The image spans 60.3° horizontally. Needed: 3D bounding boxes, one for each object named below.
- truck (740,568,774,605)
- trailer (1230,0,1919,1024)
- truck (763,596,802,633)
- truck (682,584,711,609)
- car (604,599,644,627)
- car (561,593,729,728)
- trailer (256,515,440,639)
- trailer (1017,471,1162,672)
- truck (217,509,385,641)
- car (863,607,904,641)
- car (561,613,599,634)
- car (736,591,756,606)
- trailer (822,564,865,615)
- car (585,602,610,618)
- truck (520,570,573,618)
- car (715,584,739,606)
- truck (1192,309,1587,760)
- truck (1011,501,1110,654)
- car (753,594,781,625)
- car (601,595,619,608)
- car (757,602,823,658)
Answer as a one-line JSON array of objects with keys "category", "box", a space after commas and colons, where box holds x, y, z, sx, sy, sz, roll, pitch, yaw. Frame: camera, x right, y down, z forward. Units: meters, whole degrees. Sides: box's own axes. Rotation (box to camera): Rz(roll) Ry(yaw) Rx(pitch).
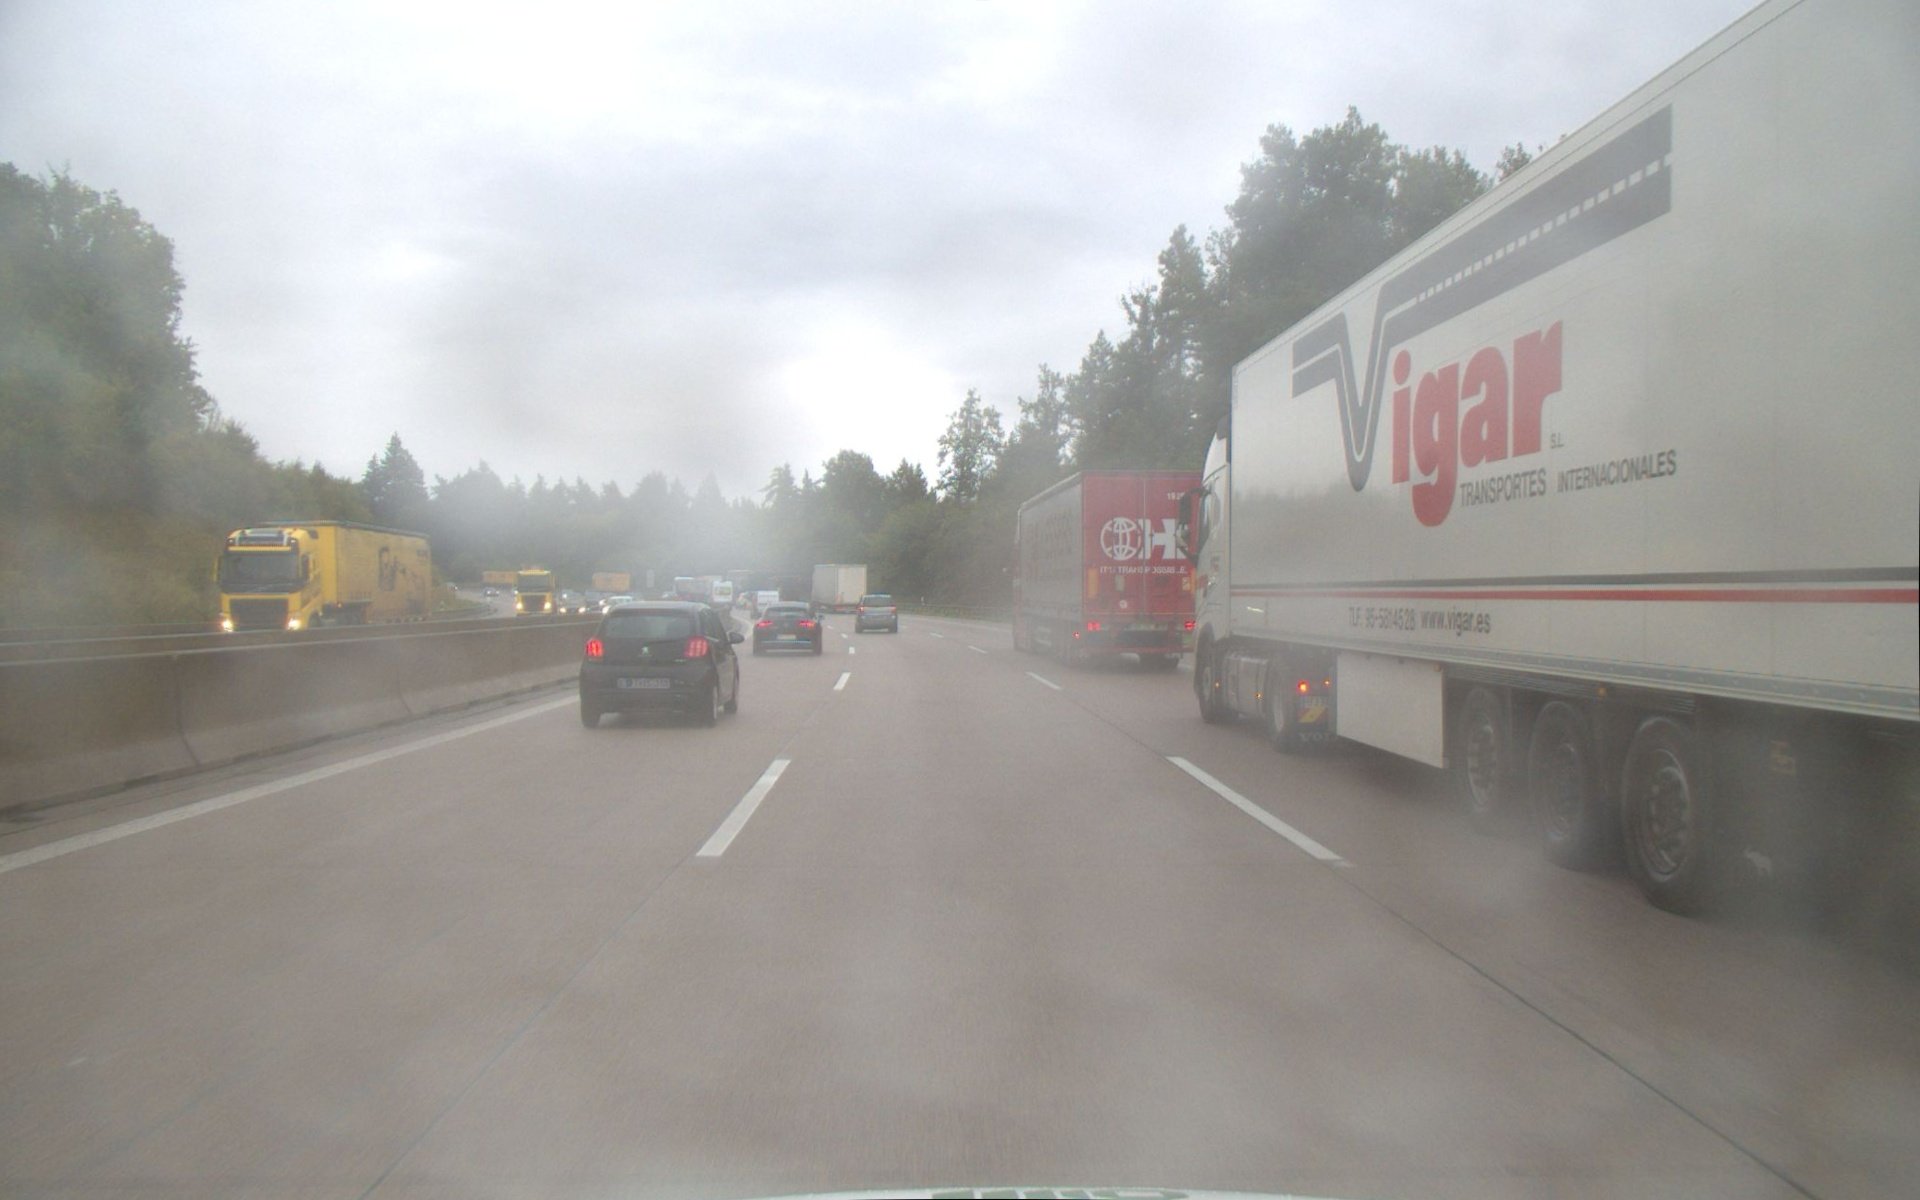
[{"category": "truck", "box": [-23.641, -1.624, 192.296, 3.308, 4.203, 10.412, 0, 1, -10]}, {"category": "trailer", "box": [4.520, -0.641, 11.826, 2.679, 4.175, 13.679, 0, 0, -1]}, {"category": "truck", "box": [-15.764, 1.237, 146.668, 2.232, 2.937, 7.871, 1, 1, -15]}, {"category": "truck", "box": [-32.727, -0.462, 205.326, 3.029, 2.956, 7.877, 1, 1, -13]}, {"category": "car", "box": [-18.546, 0.723, 91.430, 1.621, 1.505, 4.541, 0, 0, -4]}, {"category": "car", "box": [-3.857, 0.693, 20.774, 1.651, 1.488, 3.680, 2, 0, -5]}, {"category": "trailer", "box": [-21.791, -0.743, 59.933, 2.956, 3.942, 13.682, 0, 0, -6]}, {"category": "trailer", "box": [2.816, -0.586, 39.568, 2.322, 4.023, 12.518, 0, 0, -1]}, {"category": "truck", "box": [-21.088, -0.743, 53.466, 2.968, 3.942, 8.105, 0, 0, -6]}, {"category": "car", "box": [-3.280, 1.015, 71.314, 1.522, 1.375, 3.684, 2, 0, 0]}, {"category": "car", "box": [-23.256, 1.400, 101.263, 1.621, 1.219, 4.540, 0, 0, -5]}, {"category": "car", "box": [-21.497, -0.155, 166.069, 1.845, 1.499, 3.995, 2, 0, -6]}, {"category": "trailer", "box": [-9.995, -0.907, 140.496, 2.376, 4.139, 12.025, 0, 1, -10]}, {"category": "car", "box": [-30.985, 0.851, 141.517, 1.771, 1.370, 4.757, 0, 0, -8]}, {"category": "truck", "box": [-30.425, -0.430, 122.030, 2.572, 3.354, 9.369, 0, 0, -6]}, {"category": "car", "box": [-22.210, -0.476, 157.724, 1.955, 2.095, 3.996, 0, 0, -5]}, {"category": "truck", "box": [4.407, -0.612, 18.328, 2.742, 4.175, 5.966, 0, 0, -1]}, {"category": "truck", "box": [2.763, -0.600, 46.854, 2.326, 4.023, 6.159, 0, 0, -1]}, {"category": "car", "box": [-13.250, 0.646, 113.406, 1.694, 2.049, 3.647, 0, 0, -11]}, {"category": "car", "box": [-37.218, 0.118, 175.951, 1.627, 1.370, 4.068, 0, 0, -16]}, {"category": "car", "box": [-4.553, 0.792, 44.614, 1.523, 1.375, 3.681, 2, 0, -3]}]
